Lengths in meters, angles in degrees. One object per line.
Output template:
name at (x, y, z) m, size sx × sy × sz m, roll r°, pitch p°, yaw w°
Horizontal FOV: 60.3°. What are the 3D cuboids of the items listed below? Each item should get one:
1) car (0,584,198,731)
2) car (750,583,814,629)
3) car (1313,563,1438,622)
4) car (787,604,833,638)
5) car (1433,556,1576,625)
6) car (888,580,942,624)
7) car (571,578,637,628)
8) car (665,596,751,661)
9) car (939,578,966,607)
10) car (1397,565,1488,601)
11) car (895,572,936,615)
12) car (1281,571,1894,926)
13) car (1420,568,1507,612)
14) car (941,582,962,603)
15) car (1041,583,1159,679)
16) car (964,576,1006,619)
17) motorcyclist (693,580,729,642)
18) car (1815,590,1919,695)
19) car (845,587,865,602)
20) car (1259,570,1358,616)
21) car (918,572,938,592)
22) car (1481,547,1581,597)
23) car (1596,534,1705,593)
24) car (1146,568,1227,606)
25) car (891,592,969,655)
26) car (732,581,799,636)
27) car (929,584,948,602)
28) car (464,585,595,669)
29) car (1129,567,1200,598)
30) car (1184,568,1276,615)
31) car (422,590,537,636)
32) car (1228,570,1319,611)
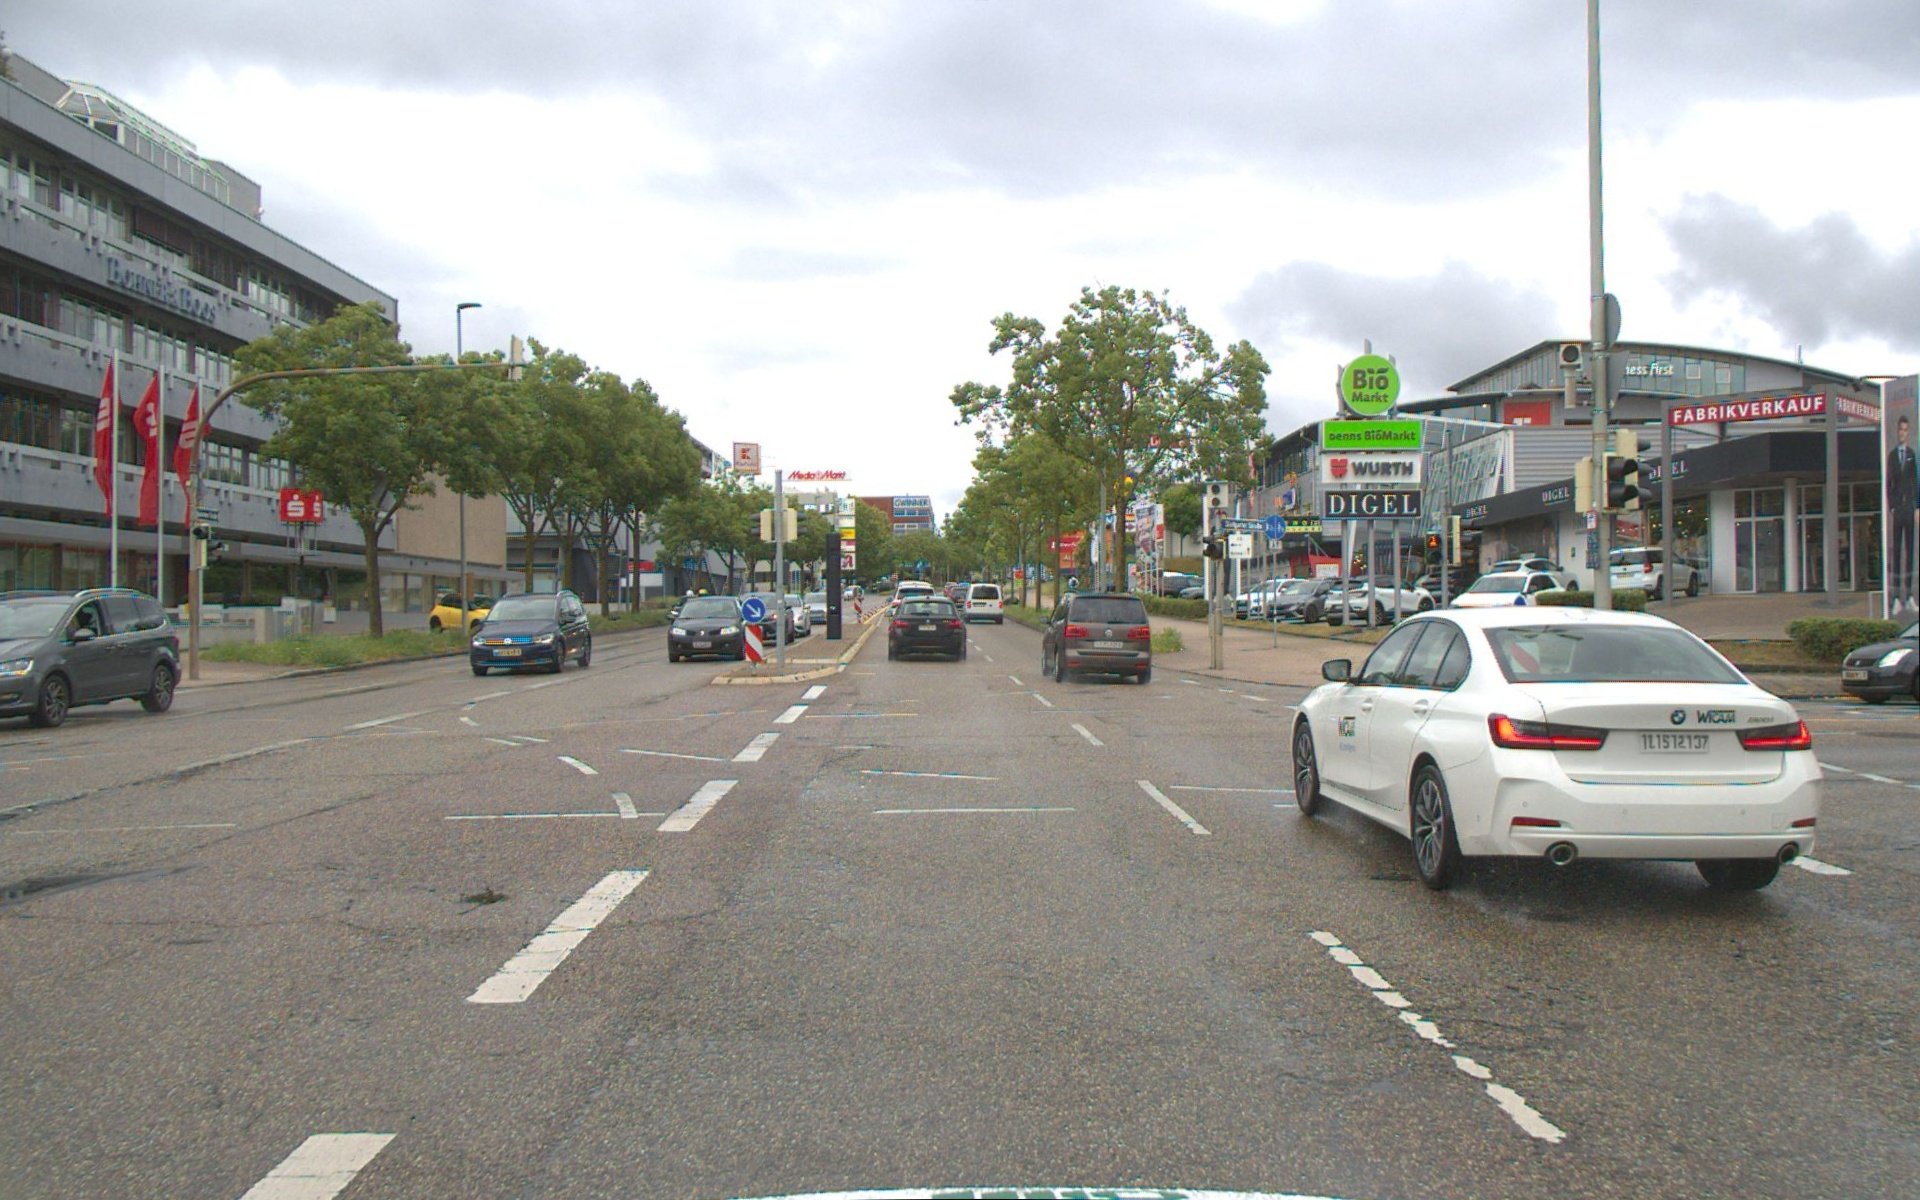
car at (-12.291, 0.691, 22.254) m, size 1.872 × 1.757 × 4.882 m, roll -1°, pitch 0°, yaw -1°
car at (-6.101, 0.173, 57.179) m, size 1.804 × 1.401 × 4.861 m, roll -4°, pitch 0°, yaw -2°
car at (13.375, -0.261, 53.172) m, size 3.991 × 1.691 × 1.953 m, roll -4°, pitch 2°, yaw -41°
car at (-6.809, 0.938, 75.570) m, size 1.688 × 1.422 × 4.788 m, roll -3°, pitch 0°, yaw -1°
car at (13.536, -0.250, 40.965) m, size 1.897 × 1.604 × 4.265 m, roll -1°, pitch 0°, yaw 40°
car at (-1.582, 0.064, 56.703) m, size 1.649 × 1.401 × 3.996 m, roll -1°, pitch 0°, yaw -4°
car at (-15.310, 0.146, 71.270) m, size 1.953 × 2.049 × 3.999 m, roll 1°, pitch -1°, yaw 0°
car at (-5.832, 0.633, 38.588) m, size 1.649 × 1.401 × 3.996 m, roll -1°, pitch 0°, yaw -4°
car at (-0.491, -0.458, 105.431) m, size 1.650 × 1.713 × 3.402 m, roll 1°, pitch -1°, yaw 0°
car at (21.166, -0.754, 72.457) m, size 4.115 × 1.494 × 1.806 m, roll -2°, pitch 1°, yaw -39°
car at (-2.185, -0.287, 81.803) m, size 1.953 × 2.049 × 3.999 m, roll 1°, pitch -1°, yaw -1°
car at (3.302, 0.680, 9.809) m, size 1.765 × 1.571 × 4.618 m, roll 1°, pitch 0°, yaw -1°
car at (20.982, -0.419, 68.871) m, size 3.940 × 1.750 × 1.610 m, roll -1°, pitch 0°, yaw -41°
car at (-0.723, -0.638, 135.803) m, size 1.660 × 1.468 × 3.991 m, roll -1°, pitch 4°, yaw 0°
car at (2.530, 0.526, 30.786) m, size 1.764 × 1.615 × 4.450 m, roll 1°, pitch 0°, yaw 0°
car at (1.139, -0.109, 76.204) m, size 1.746 × 1.899 × 3.999 m, roll -1°, pitch 0°, yaw -1°
motorcyclist at (-6.485, 0.265, 43.185) m, size 0.790 × 1.586 × 1.267 m, roll 0°, pitch 0°, yaw -3°
car at (15.388, 0.586, 25.060) m, size 3.898 × 1.515 × 1.817 m, roll -2°, pitch -1°, yaw -1°
car at (-10.378, -0.565, 163.760) m, size 1.904 × 1.474 × 3.999 m, roll 0°, pitch 0°, yaw -2°
car at (12.423, -0.262, 58.902) m, size 3.566 × 1.563 × 1.619 m, roll -1°, pitch 0°, yaw -41°
car at (-2.589, -1.474, 134.433) m, size 1.562 × 1.500 × 3.443 m, roll 1°, pitch -1°, yaw -2°
car at (21.504, -1.069, 62.207) m, size 4.116 × 1.802 × 1.712 m, roll -1°, pitch 0°, yaw -41°
car at (21.970, -1.150, 52.543) m, size 4.123 × 1.802 × 1.710 m, roll -1°, pitch 0°, yaw -44°
car at (12.084, -0.684, 88.397) m, size 4.026 × 1.938 × 1.800 m, roll -1°, pitch 0°, yaw 0°
car at (-0.710, 0.527, 39.053) m, size 1.745 × 1.422 × 3.999 m, roll 0°, pitch 0°, yaw -1°
car at (-5.662, 0.231, 48.629) m, size 1.710 × 1.515 × 4.825 m, roll -1°, pitch 0°, yaw -4°
car at (-1.958, -0.606, 150.443) m, size 1.587 × 1.521 × 3.359 m, roll 1°, pitch -1°, yaw -2°
car at (-8.968, 0.528, 34.804) m, size 1.873 × 1.636 × 4.359 m, roll -1°, pitch 0°, yaw -4°
car at (11.783, -1.032, 95.558) m, size 4.024 × 1.733 × 1.801 m, roll 0°, pitch 0°, yaw 5°
car at (12.607, -0.393, 77.381) m, size 4.026 × 2.142 × 1.800 m, roll 0°, pitch 0°, yaw 0°
car at (-17.269, 0.466, 59.446) m, size 3.917 × 1.579 × 1.894 m, roll -1°, pitch 1°, yaw 34°
car at (12.652, -0.398, 66.607) m, size 3.566 × 1.562 × 1.770 m, roll -2°, pitch 1°, yaw -41°
